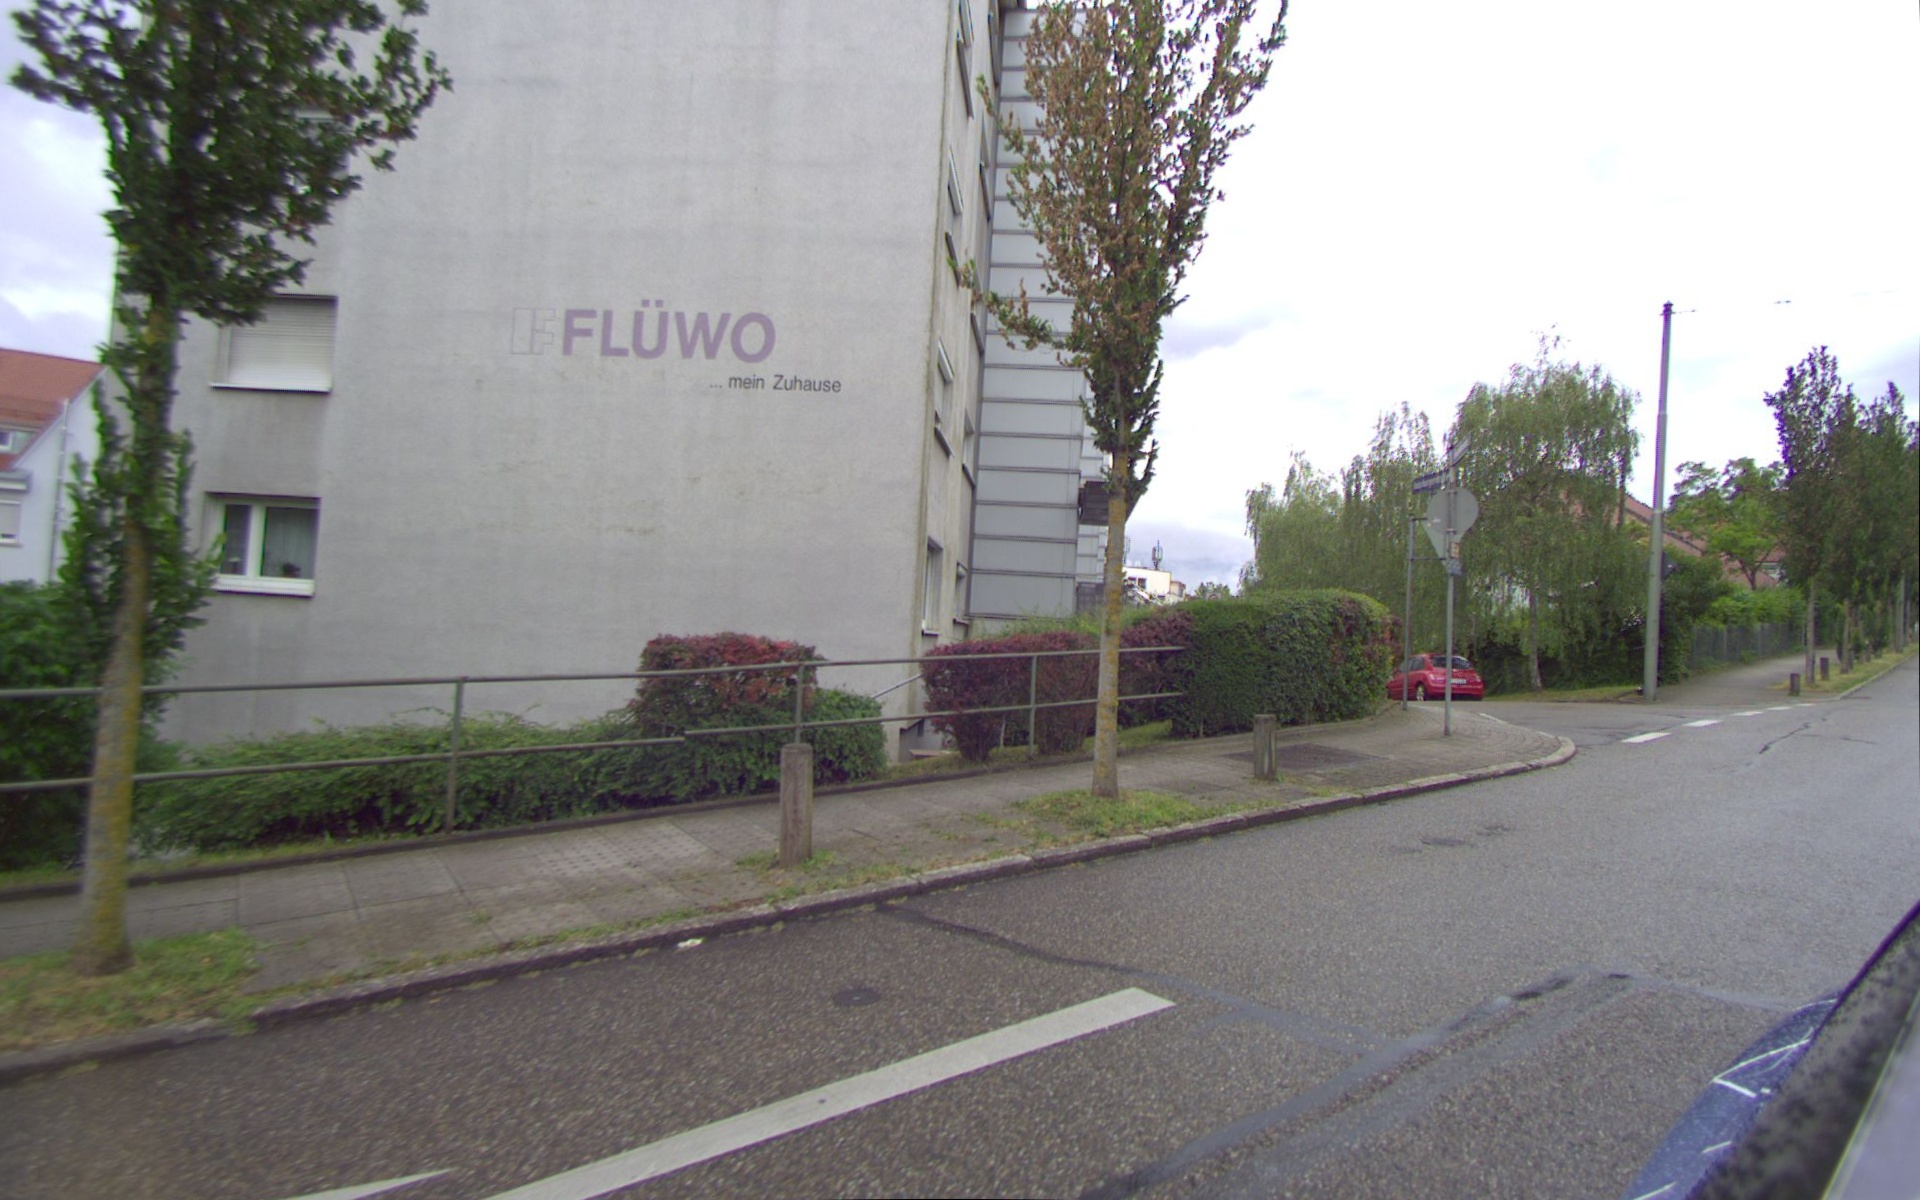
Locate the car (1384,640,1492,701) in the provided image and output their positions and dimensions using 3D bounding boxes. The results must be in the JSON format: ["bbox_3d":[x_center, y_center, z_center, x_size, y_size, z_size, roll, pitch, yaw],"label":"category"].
[{"bbox_3d":[13.672,2.083,29.166,1.616,1.543,3.562,2,-7,4],"label":"car"}]

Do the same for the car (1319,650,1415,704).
[{"bbox_3d":[13.805,2.694,34.599,1.696,1.563,4.363,0,-8,4],"label":"car"}]

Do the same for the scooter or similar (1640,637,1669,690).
[{"bbox_3d":[17.472,1.578,25.454,0.343,1.270,1.247,-3,-2,45],"label":"scooter or similar"}]
